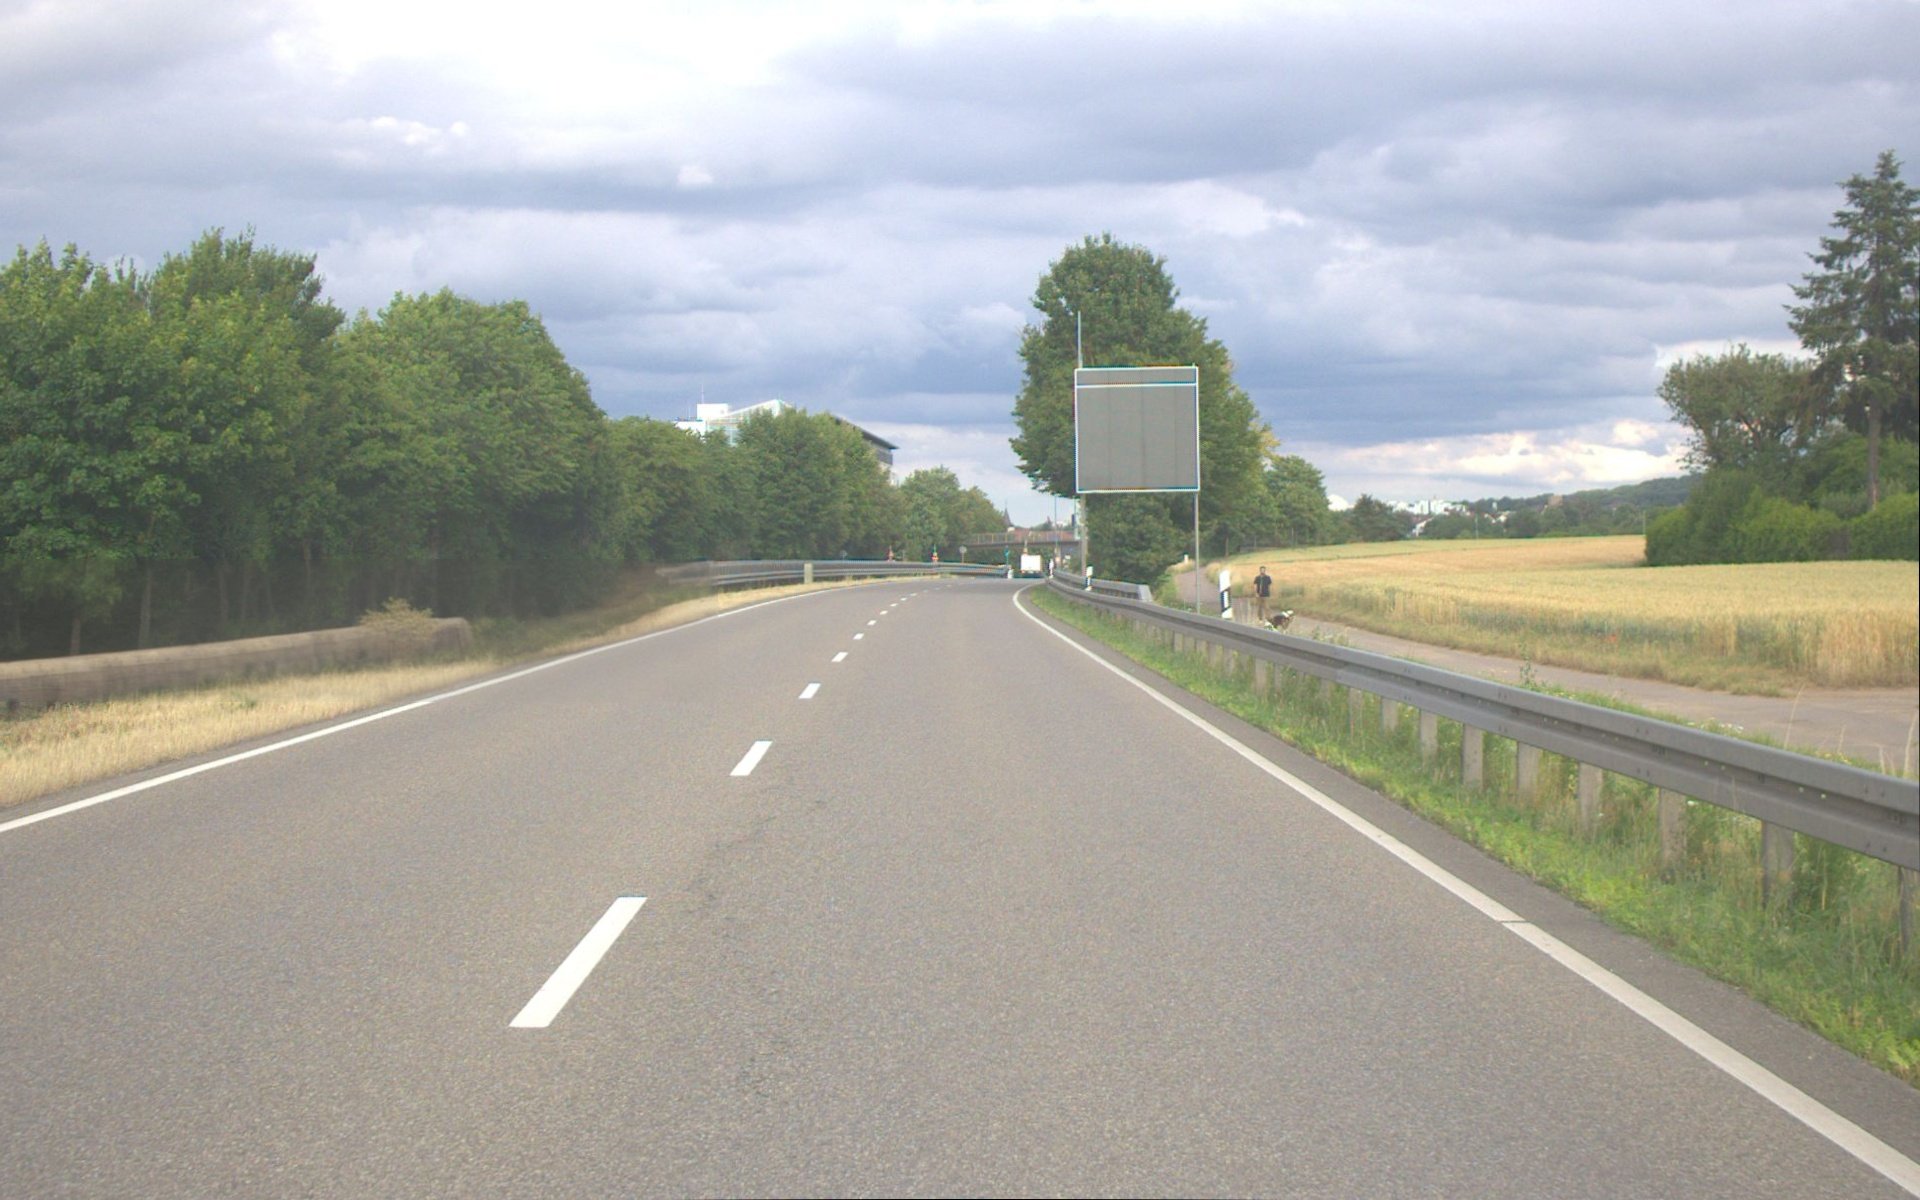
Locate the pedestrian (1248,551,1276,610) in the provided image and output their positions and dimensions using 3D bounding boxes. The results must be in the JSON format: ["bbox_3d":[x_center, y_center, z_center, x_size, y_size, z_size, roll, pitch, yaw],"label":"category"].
[{"bbox_3d":[9.697,-0.619,110.532,0.771,1.861,0.940,1,0,0],"label":"pedestrian"}]

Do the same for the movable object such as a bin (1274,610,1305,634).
[{"bbox_3d":[9.394,0.627,98.065,0.732,0.643,1.235,1,0,0],"label":"movable object such as a bin"}]
